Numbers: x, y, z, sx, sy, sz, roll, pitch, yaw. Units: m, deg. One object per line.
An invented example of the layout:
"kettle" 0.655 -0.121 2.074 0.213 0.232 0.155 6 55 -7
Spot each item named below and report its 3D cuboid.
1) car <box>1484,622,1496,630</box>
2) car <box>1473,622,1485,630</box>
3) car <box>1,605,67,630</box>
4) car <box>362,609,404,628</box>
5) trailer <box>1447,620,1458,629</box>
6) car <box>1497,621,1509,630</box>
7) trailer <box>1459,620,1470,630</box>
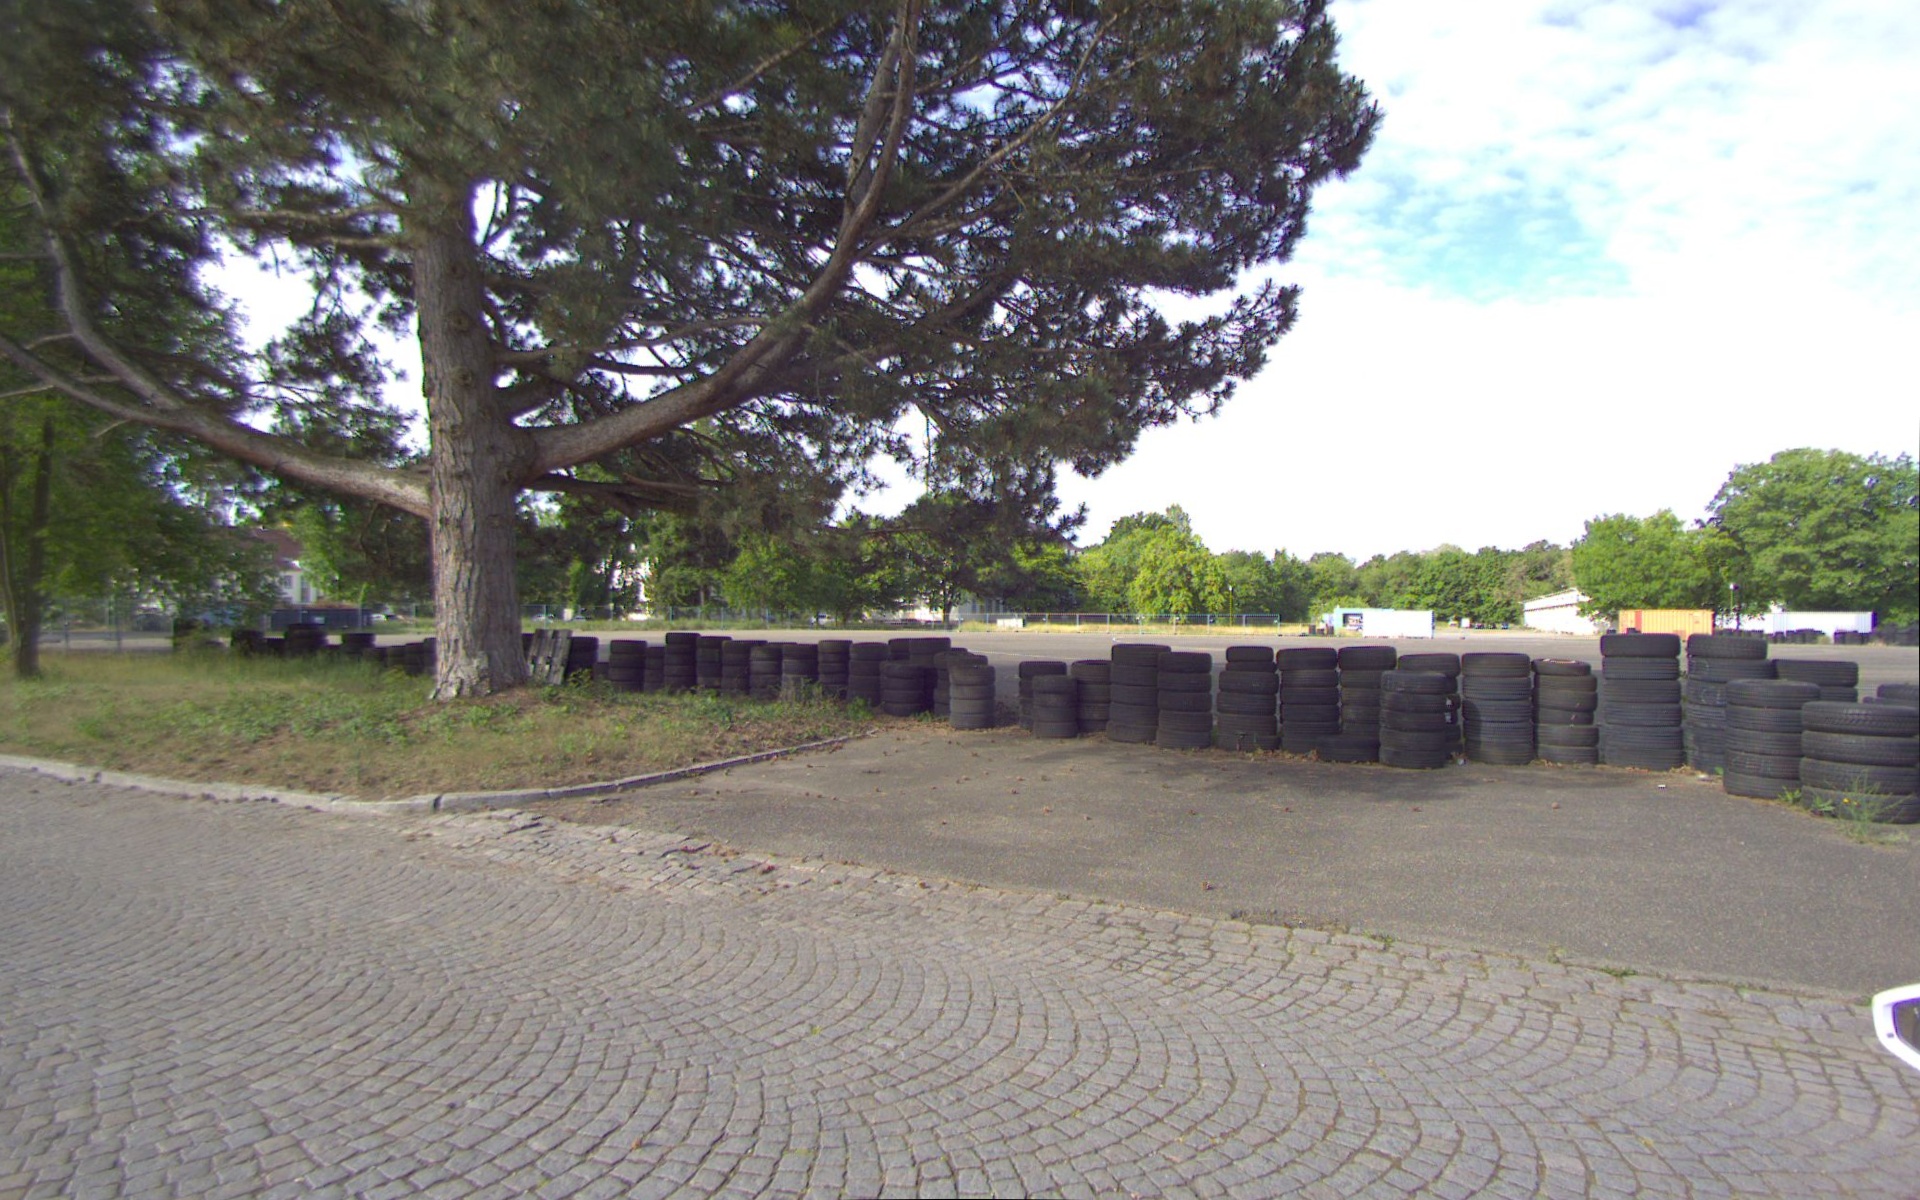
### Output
"car" 117.032 5.679 221.690 1.999 1.832 3.998 0 -1 23
"car" 114.941 5.710 222.495 1.961 1.773 3.998 0 -1 23
"car" -61.468 1.165 66.680 3.926 1.639 1.998 0 -1 27
"car" -57.234 1.816 99.633 3.930 1.773 1.996 0 -1 31
"trailer" 111.482 5.594 227.485 1.962 2.040 3.998 0 -1 24
"car" 119.283 5.578 220.601 1.961 1.773 3.998 0 -1 23
"trailer" 113.098 5.612 225.214 2.025 2.040 3.997 0 -1 24
